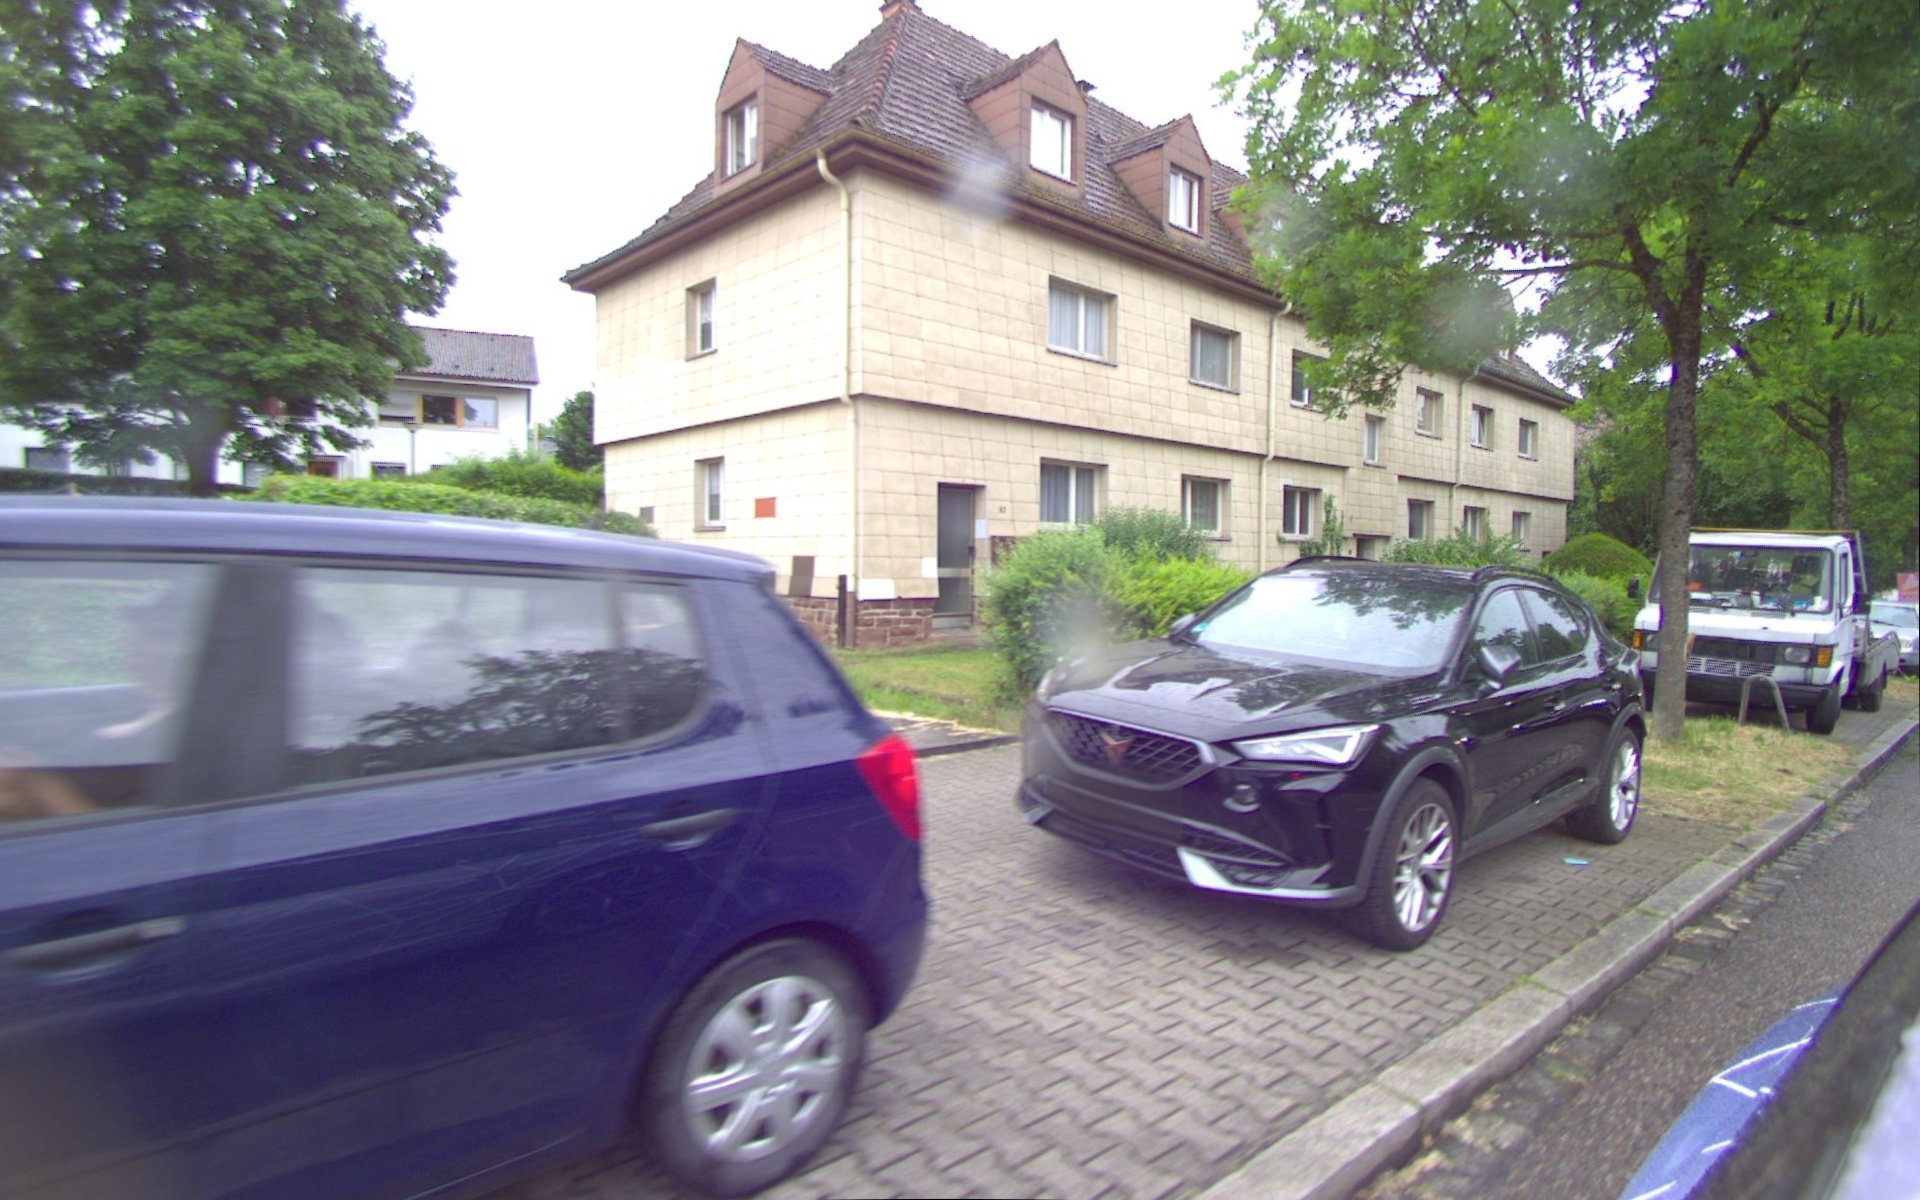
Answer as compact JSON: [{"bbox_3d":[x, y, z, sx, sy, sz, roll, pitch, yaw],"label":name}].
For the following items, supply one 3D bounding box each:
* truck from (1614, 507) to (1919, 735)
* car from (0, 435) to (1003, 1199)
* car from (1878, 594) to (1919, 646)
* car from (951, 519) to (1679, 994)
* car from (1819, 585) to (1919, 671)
[{"bbox_3d":[10.635,0.150,13.019,6.391,2.248,2.084,0,4,-43],"label":"truck"},{"bbox_3d":[-1.875,0.456,1.937,3.789,1.489,1.608,0,4,-41],"label":"car"},{"bbox_3d":[28.268,0.583,29.563,4.423,1.406,1.691,0,4,-43],"label":"car"},{"bbox_3d":[2.093,0.466,5.275,4.110,1.516,1.718,0,4,-41],"label":"car"},{"bbox_3d":[18.585,0.549,20.155,3.951,1.453,1.605,2,4,-41],"label":"car"}]
